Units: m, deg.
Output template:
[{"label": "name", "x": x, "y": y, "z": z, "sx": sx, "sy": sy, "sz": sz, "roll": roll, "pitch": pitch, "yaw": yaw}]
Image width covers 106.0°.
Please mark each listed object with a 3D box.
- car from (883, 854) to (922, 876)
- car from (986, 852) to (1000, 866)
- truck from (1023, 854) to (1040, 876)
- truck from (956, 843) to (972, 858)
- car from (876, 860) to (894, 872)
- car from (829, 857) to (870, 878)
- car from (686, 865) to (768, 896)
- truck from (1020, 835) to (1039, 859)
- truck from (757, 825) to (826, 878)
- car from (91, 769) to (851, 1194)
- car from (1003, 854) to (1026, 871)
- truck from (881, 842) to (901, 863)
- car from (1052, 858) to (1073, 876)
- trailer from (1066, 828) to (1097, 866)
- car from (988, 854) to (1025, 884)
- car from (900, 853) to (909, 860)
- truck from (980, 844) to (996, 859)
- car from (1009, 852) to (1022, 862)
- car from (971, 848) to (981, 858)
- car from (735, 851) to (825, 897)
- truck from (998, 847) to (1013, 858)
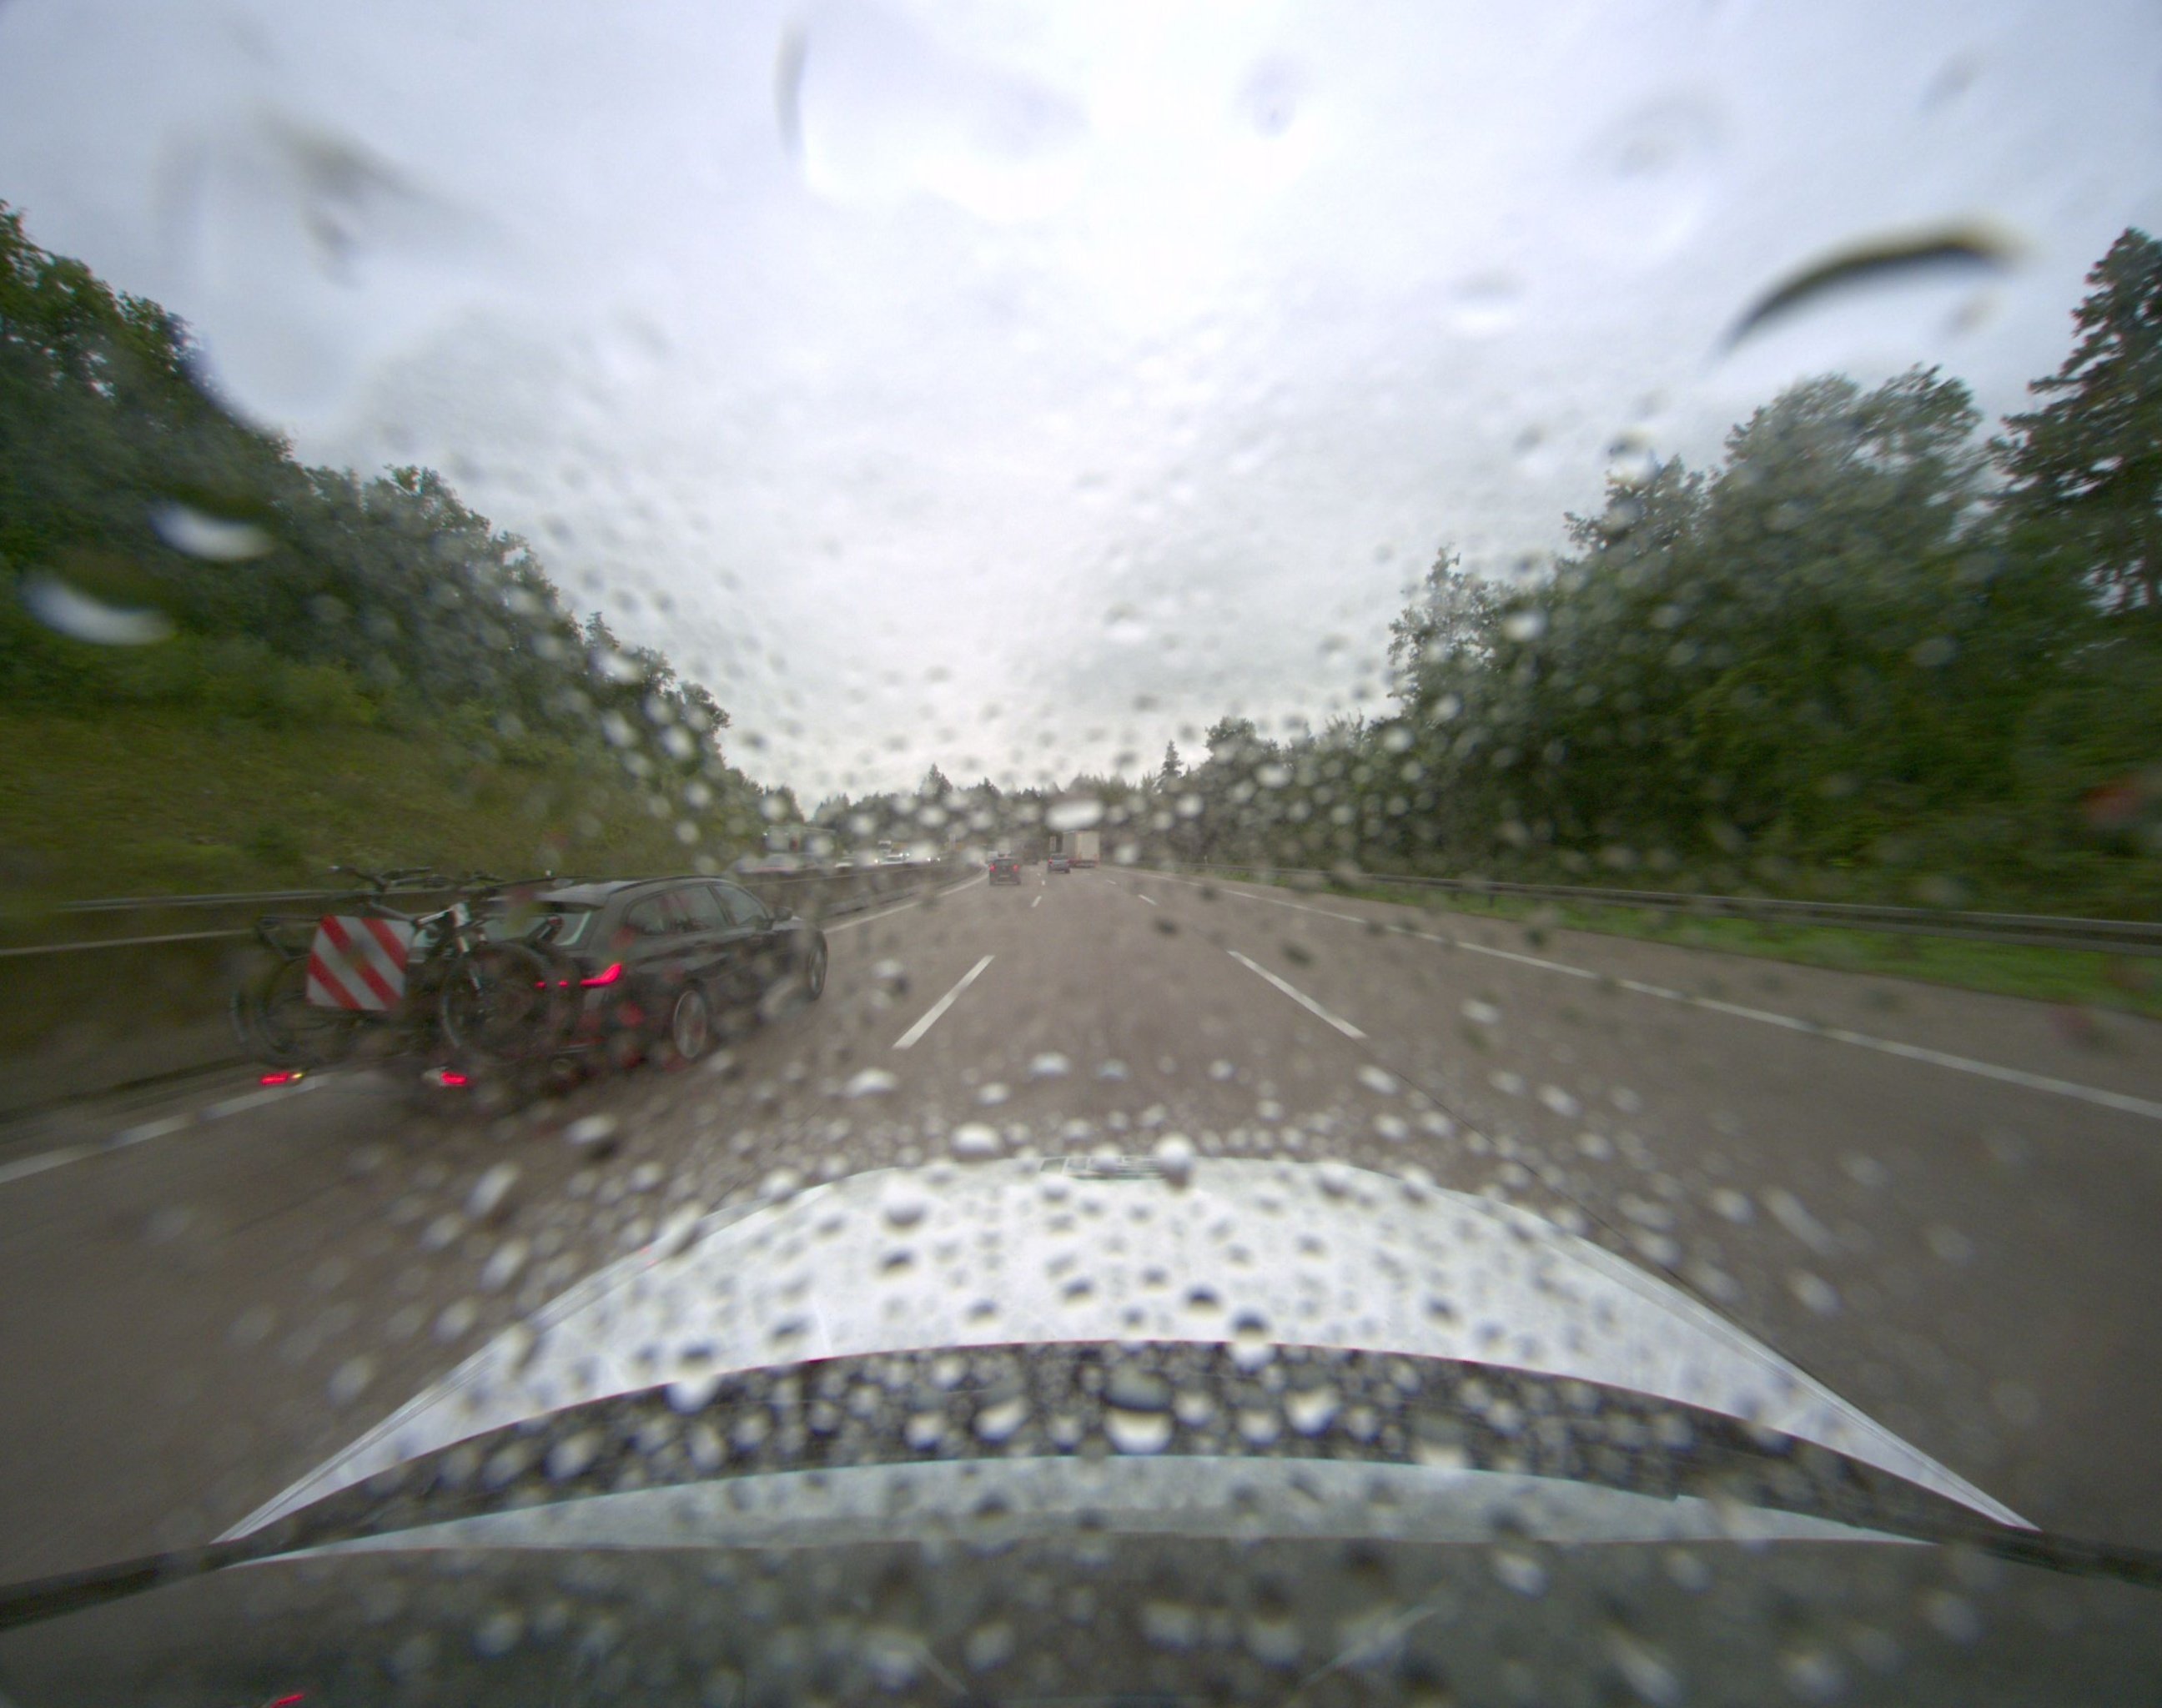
[{"label": "car", "x": -13.620, "y": 0.845, "z": 62.398, "sx": 1.988, "sy": 1.585, "sz": 4.770, "roll": -1, "pitch": 0, "yaw": -1}, {"label": "car", "x": -12.917, "y": 0.692, "z": 119.397, "sx": 1.721, "sy": 2.013, "sz": 3.653, "roll": -1, "pitch": 0, "yaw": -3}, {"label": "truck", "x": -6.960, "y": 1.496, "z": 115.120, "sx": 2.263, "sy": 2.886, "sz": 7.898, "roll": 0, "pitch": 1, "yaw": -2}, {"label": "truck", "x": -33.599, "y": -1.007, "z": 233.883, "sx": 3.745, "sy": 4.210, "sz": 6.786, "roll": -1, "pitch": 0, "yaw": -14}, {"label": "car", "x": -26.583, "y": 1.609, "z": 110.486, "sx": 1.727, "sy": 1.493, "sz": 3.995, "roll": -1, "pitch": 0, "yaw": -3}, {"label": "car", "x": -18.508, "y": 1.064, "z": 65.396, "sx": 1.988, "sy": 1.585, "sz": 4.770, "roll": -1, "pitch": 0, "yaw": -1}, {"label": "car", "x": -16.531, "y": 1.199, "z": 38.300, "sx": 1.988, "sy": 1.293, "sz": 4.295, "roll": -1, "pitch": 0, "yaw": -1}, {"label": "truck", "x": -9.349, "y": -1.229, "z": 147.161, "sx": 3.363, "sy": 4.131, "sz": 10.421, "roll": 0, "pitch": 1, "yaw": -4}, {"label": "truck", "x": -23.056, "y": -0.172, "z": 65.322, "sx": 2.920, "sy": 3.960, "sz": 8.109, "roll": -1, "pitch": 0, "yaw": -3}, {"label": "car", "x": -3.703, "y": 0.589, "z": 6.883, "sx": 1.902, "sy": 1.945, "sz": 6.158, "roll": -1, "pitch": 0, "yaw": -2}, {"label": "car", "x": -5.474, "y": 0.664, "z": 67.797, "sx": 1.548, "sy": 1.351, "sz": 3.684, "roll": 2, "pitch": 0, "yaw": 0}, {"label": "truck", "x": -35.071, "y": -0.300, "z": 150.375, "sx": 2.904, "sy": 3.889, "sz": 7.346, "roll": 0, "pitch": 0, "yaw": -7}, {"label": "car", "x": -1.506, "y": 1.044, "z": 66.782, "sx": 1.549, "sy": 1.351, "sz": 3.683, "roll": 2, "pitch": 0, "yaw": 0}, {"label": "trailer", "x": -0.075, "y": -0.800, "z": 91.748, "sx": 2.416, "sy": 4.068, "sz": 12.031, "roll": 0, "pitch": 1, "yaw": -6}, {"label": "car", "x": -3.957, "y": 0.773, "z": 43.652, "sx": 1.679, "sy": 1.462, "sz": 3.681, "roll": 2, "pitch": 0, "yaw": -2}, {"label": "car", "x": -39.479, "y": 0.498, "z": 182.068, "sx": 1.729, "sy": 1.576, "sz": 4.233, "roll": -1, "pitch": 0, "yaw": -7}, {"label": "truck", "x": -19.604, "y": -0.565, "z": 171.124, "sx": 3.082, "sy": 2.905, "sz": 7.879, "roll": 0, "pitch": 1, "yaw": -9}, {"label": "car", "x": -10.448, "y": 0.416, "z": 130.812, "sx": 1.877, "sy": 1.473, "sz": 3.996, "roll": 2, "pitch": 0, "yaw": -3}, {"label": "car", "x": -21.157, "y": -0.159, "z": 164.349, "sx": 1.992, "sy": 2.059, "sz": 3.990, "roll": -1, "pitch": 0, "yaw": -7}, {"label": "car", "x": -12.608, "y": 0.790, "z": 34.431, "sx": 1.986, "sy": 1.768, "sz": 4.538, "roll": -1, "pitch": 0, "yaw": 1}, {"label": "truck", "x": -16.639, "y": -0.399, "z": 178.538, "sx": 2.972, "sy": 2.309, "sz": 6.651, "roll": 2, "pitch": 0, "yaw": -7}]
